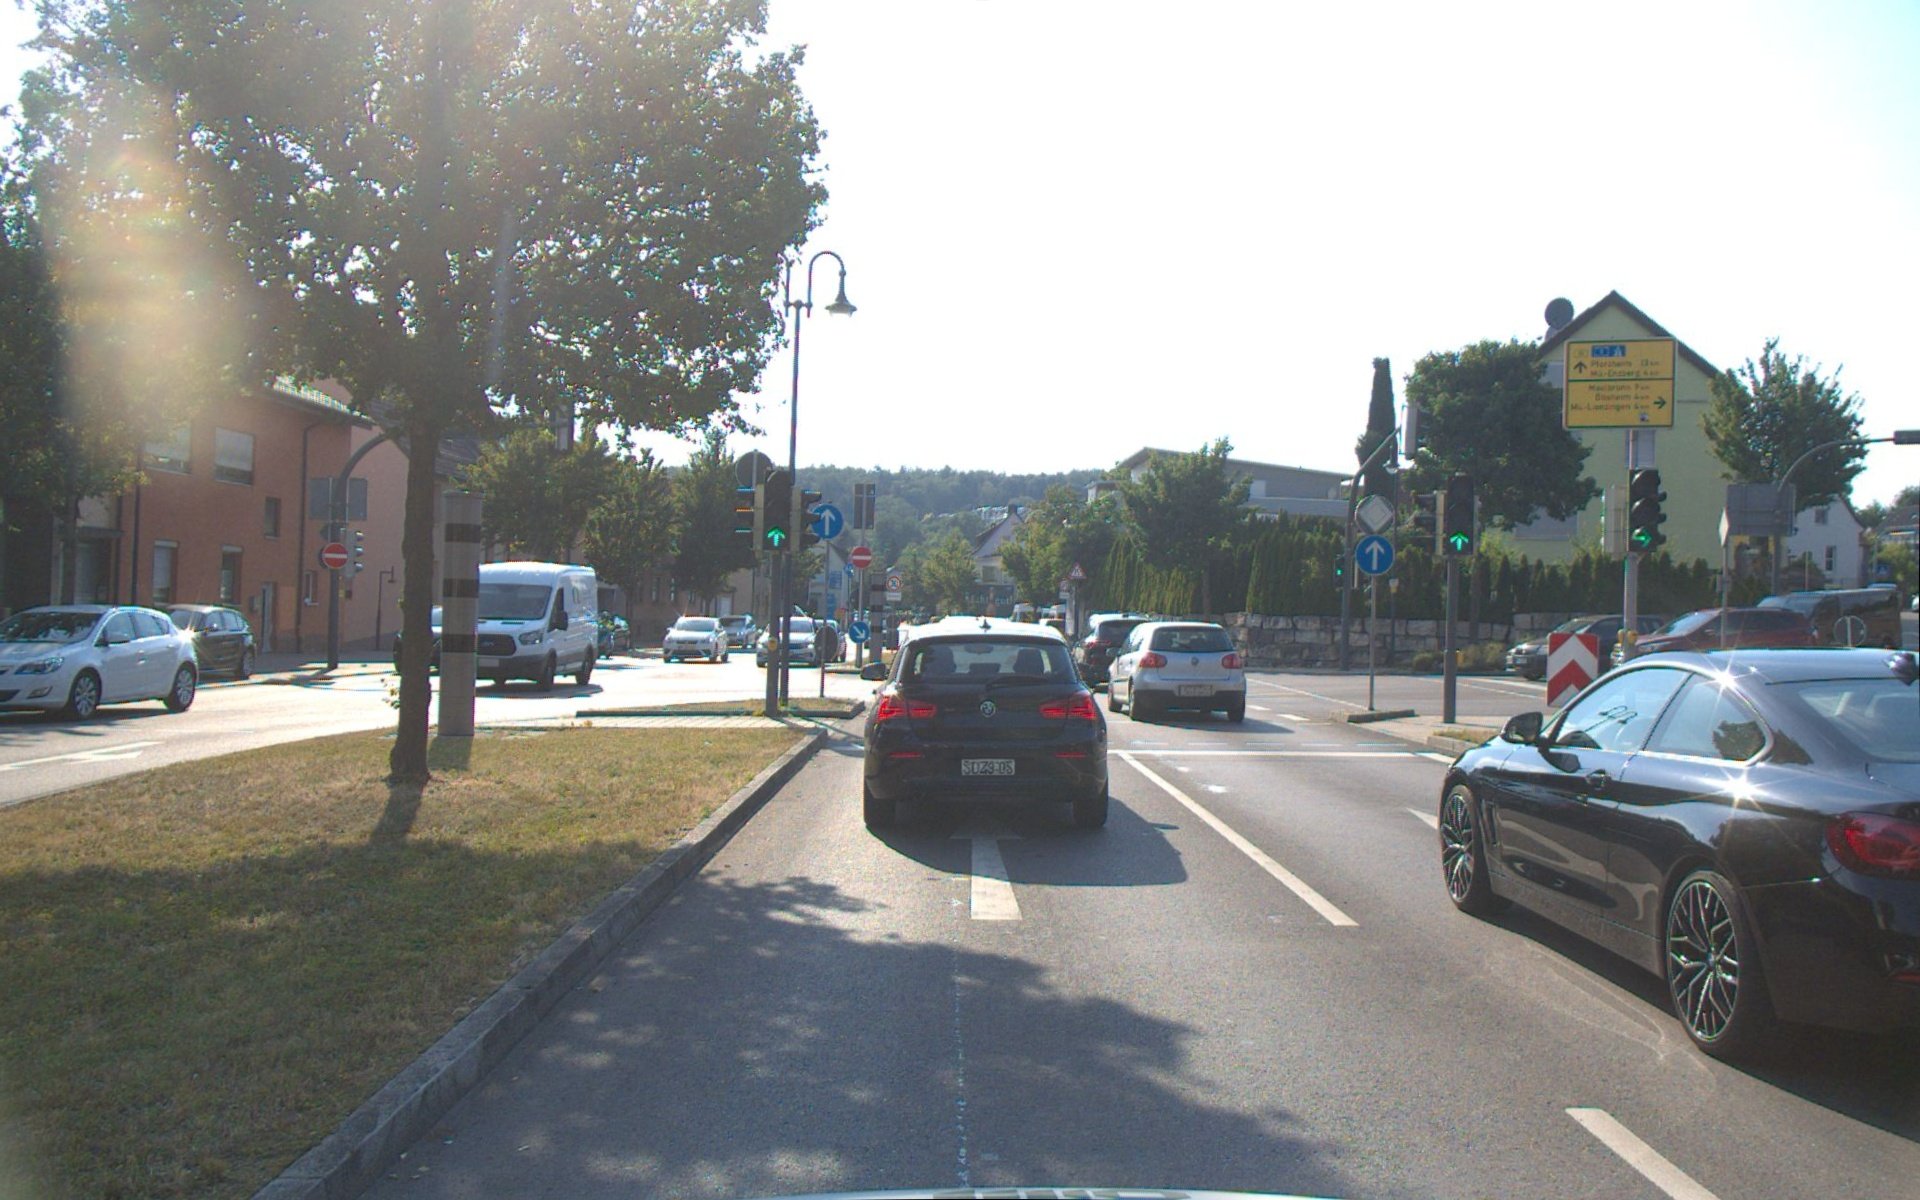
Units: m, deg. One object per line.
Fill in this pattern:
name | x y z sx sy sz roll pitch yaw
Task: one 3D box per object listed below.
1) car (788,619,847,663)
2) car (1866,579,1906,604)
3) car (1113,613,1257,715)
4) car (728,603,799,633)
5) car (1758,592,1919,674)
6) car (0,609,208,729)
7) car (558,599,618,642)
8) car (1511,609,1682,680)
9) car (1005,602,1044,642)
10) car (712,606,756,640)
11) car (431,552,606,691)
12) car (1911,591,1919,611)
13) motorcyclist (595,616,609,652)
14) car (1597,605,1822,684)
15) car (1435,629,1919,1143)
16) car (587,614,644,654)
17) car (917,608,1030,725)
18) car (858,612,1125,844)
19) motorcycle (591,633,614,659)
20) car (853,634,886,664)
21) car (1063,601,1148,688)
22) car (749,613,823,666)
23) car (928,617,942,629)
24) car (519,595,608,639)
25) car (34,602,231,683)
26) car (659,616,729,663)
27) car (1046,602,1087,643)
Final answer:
car | -4.821 1.382 56.252 1.556 1.452 3.578 0 -1 2
car | 53.484 -0.466 95.503 1.779 1.368 3.989 0 0 33
car | 3.428 0.944 25.728 1.718 1.439 3.421 1 0 -1
car | -17.510 1.623 147.747 6.035 2.487 2.248 2 0 -2
car | 22.596 0.825 42.001 5.118 1.966 1.976 1 0 -35
car | -11.944 0.845 22.236 1.656 1.439 4.214 1 0 1
car | -14.566 0.789 64.886 1.481 1.537 3.884 2 0 -1
car | 15.070 1.034 39.324 3.707 1.569 1.599 1 0 19
car | 4.555 1.528 118.037 2.107 2.727 6.598 1 0 -3
car | -11.321 1.155 83.138 1.651 1.640 4.412 1 -1 -1
car | -8.683 0.409 33.083 2.042 2.519 5.478 1 0 0
car | 67.489 0.054 115.378 1.779 1.368 3.989 0 0 33
motorcyclist | -12.566 1.208 58.059 0.395 1.250 0.462 1 -1 1
car | 16.440 0.971 36.379 4.157 1.654 1.860 1 0 -6
car | 3.453 0.851 6.860 1.665 1.393 4.261 0 0 -1
car | -14.178 1.383 68.168 1.586 1.537 4.131 1 0 -2
car | 0.230 0.946 25.193 1.559 1.628 3.894 1 0 1
car | 0.184 0.859 12.685 1.735 1.482 3.515 1 0 -1
motorcycle | -12.551 1.619 58.123 0.404 0.875 1.763 1 0 0
car | -4.786 2.605 88.031 1.500 1.488 3.506 1 0 1
car | 3.157 0.938 36.305 1.570 1.798 3.410 1 0 0
car | -5.283 1.167 50.693 1.797 1.514 4.565 1 0 -1
car | -3.213 2.966 212.768 1.565 1.511 3.472 2 0 -3
car | -19.089 0.839 79.697 3.742 1.914 1.779 3 -1 1
car | -15.929 0.787 32.059 1.759 1.439 3.941 1 0 1
car | -8.742 1.276 54.577 1.721 1.436 3.999 1 0 -1
car | 7.578 1.581 118.528 2.069 2.769 6.438 1 0 -4
